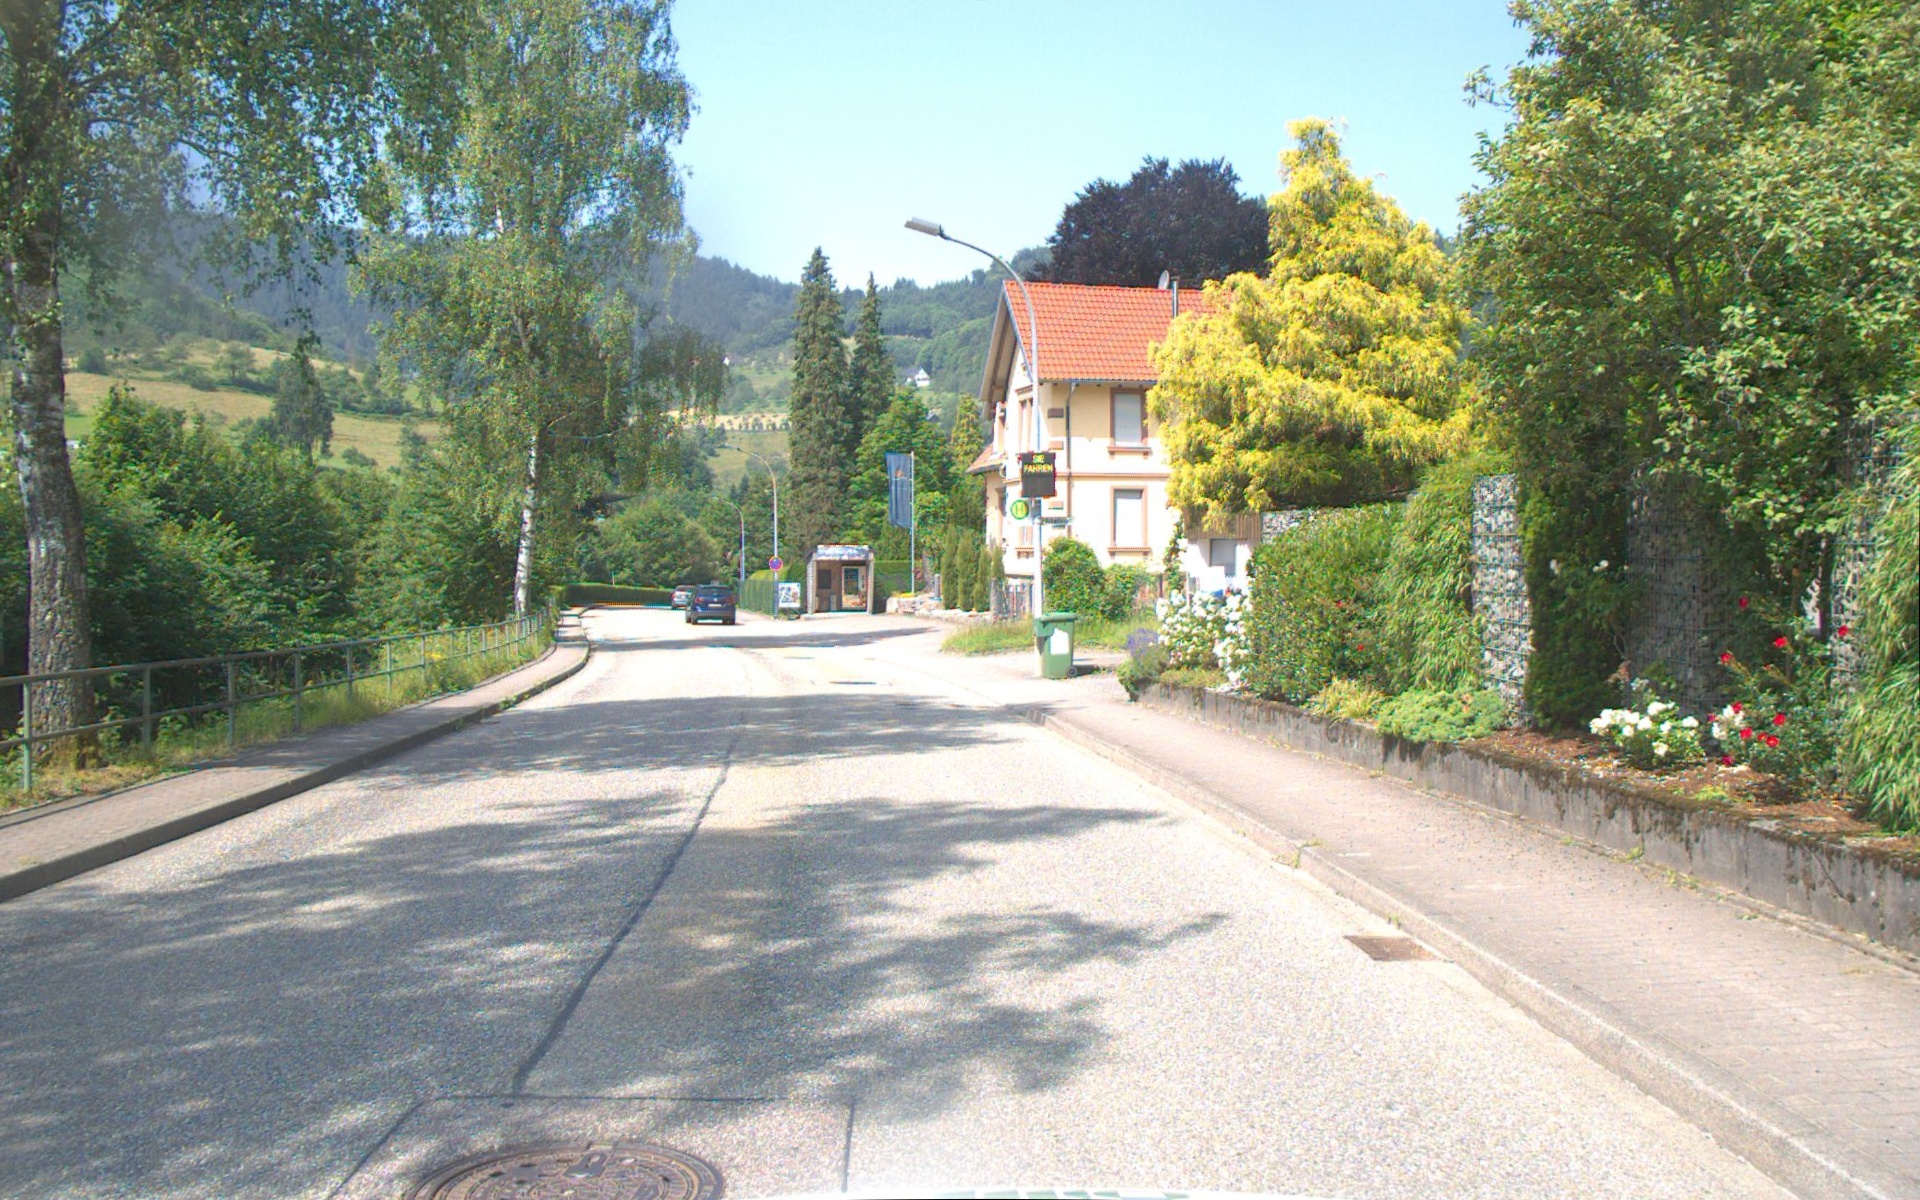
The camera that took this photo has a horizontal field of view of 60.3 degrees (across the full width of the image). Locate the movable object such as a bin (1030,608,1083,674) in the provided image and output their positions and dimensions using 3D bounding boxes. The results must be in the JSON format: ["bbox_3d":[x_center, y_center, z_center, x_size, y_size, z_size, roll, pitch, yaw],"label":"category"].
[{"bbox_3d":[1.615,0.683,27.736,0.794,1.060,0.578,-1,1,-8],"label":"movable object such as a bin"}]

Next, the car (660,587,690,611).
[{"bbox_3d":[-17.128,-0.064,99.639,1.598,1.447,3.393,0,0,-7],"label":"car"}]

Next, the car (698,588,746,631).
[{"bbox_3d":[-9.933,0.377,68.893,1.884,1.728,3.780,-1,0,-9],"label":"car"}]
